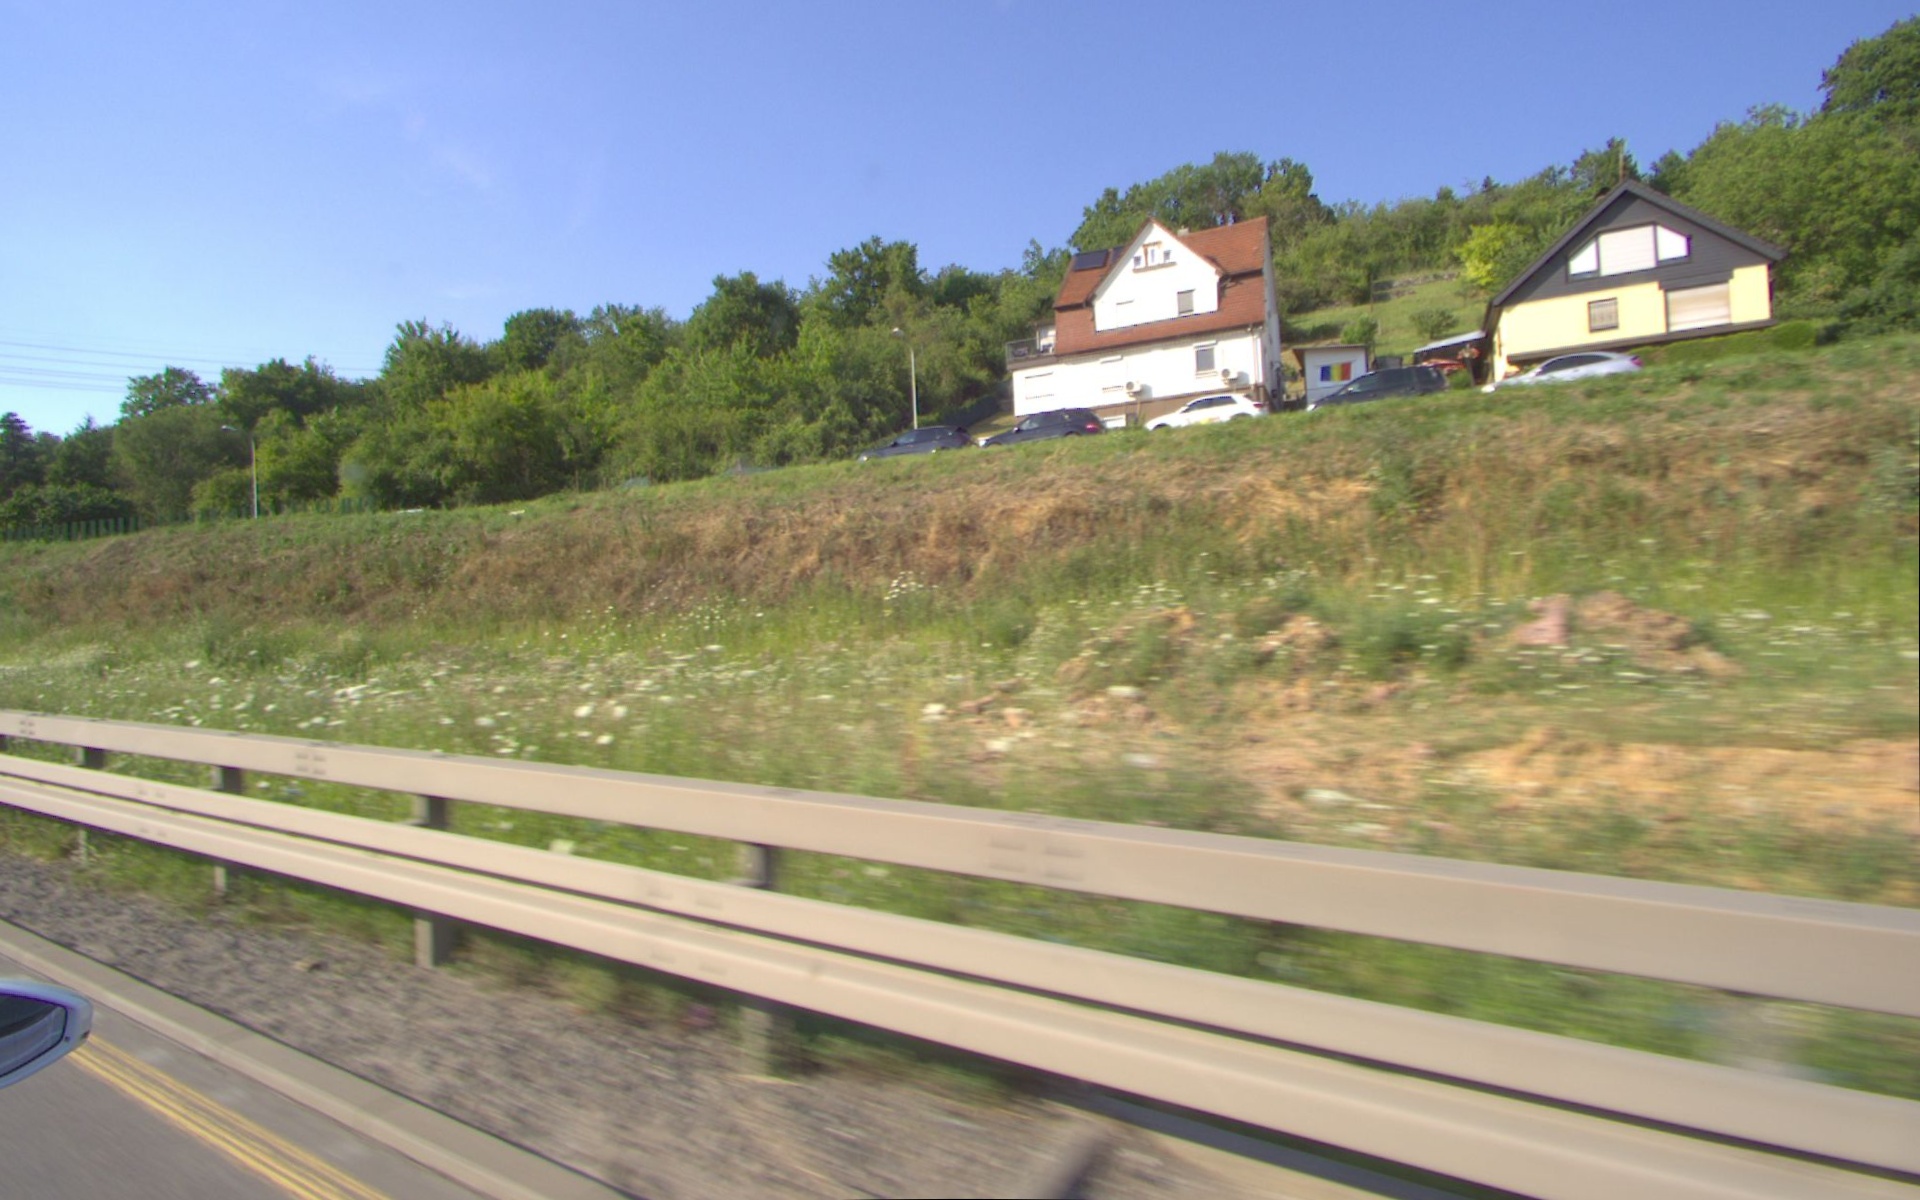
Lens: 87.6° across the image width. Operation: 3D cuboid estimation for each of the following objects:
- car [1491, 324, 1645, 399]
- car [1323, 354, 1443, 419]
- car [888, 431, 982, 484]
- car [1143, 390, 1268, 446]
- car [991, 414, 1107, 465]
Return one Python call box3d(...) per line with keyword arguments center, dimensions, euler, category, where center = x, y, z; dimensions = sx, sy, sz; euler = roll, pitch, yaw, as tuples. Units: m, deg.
box3d(center=(17.068, -6.693, 28.292), dimensions=(3.497, 1.389, 1.448), euler=(-1, -2, 22), category="car")
box3d(center=(12.798, -6.458, 30.466), dimensions=(3.286, 1.340, 1.346), euler=(-1, -2, 21), category="car")
box3d(center=(-0.913, -5.198, 36.715), dimensions=(3.179, 1.476, 1.359), euler=(-1, -2, 24), category="car")
box3d(center=(8.049, -5.925, 32.808), dimensions=(3.834, 1.248, 1.345), euler=(-1, -2, 22), category="car")
box3d(center=(3.089, -5.571, 34.889), dimensions=(3.833, 1.248, 1.346), euler=(-1, -2, 21), category="car")
